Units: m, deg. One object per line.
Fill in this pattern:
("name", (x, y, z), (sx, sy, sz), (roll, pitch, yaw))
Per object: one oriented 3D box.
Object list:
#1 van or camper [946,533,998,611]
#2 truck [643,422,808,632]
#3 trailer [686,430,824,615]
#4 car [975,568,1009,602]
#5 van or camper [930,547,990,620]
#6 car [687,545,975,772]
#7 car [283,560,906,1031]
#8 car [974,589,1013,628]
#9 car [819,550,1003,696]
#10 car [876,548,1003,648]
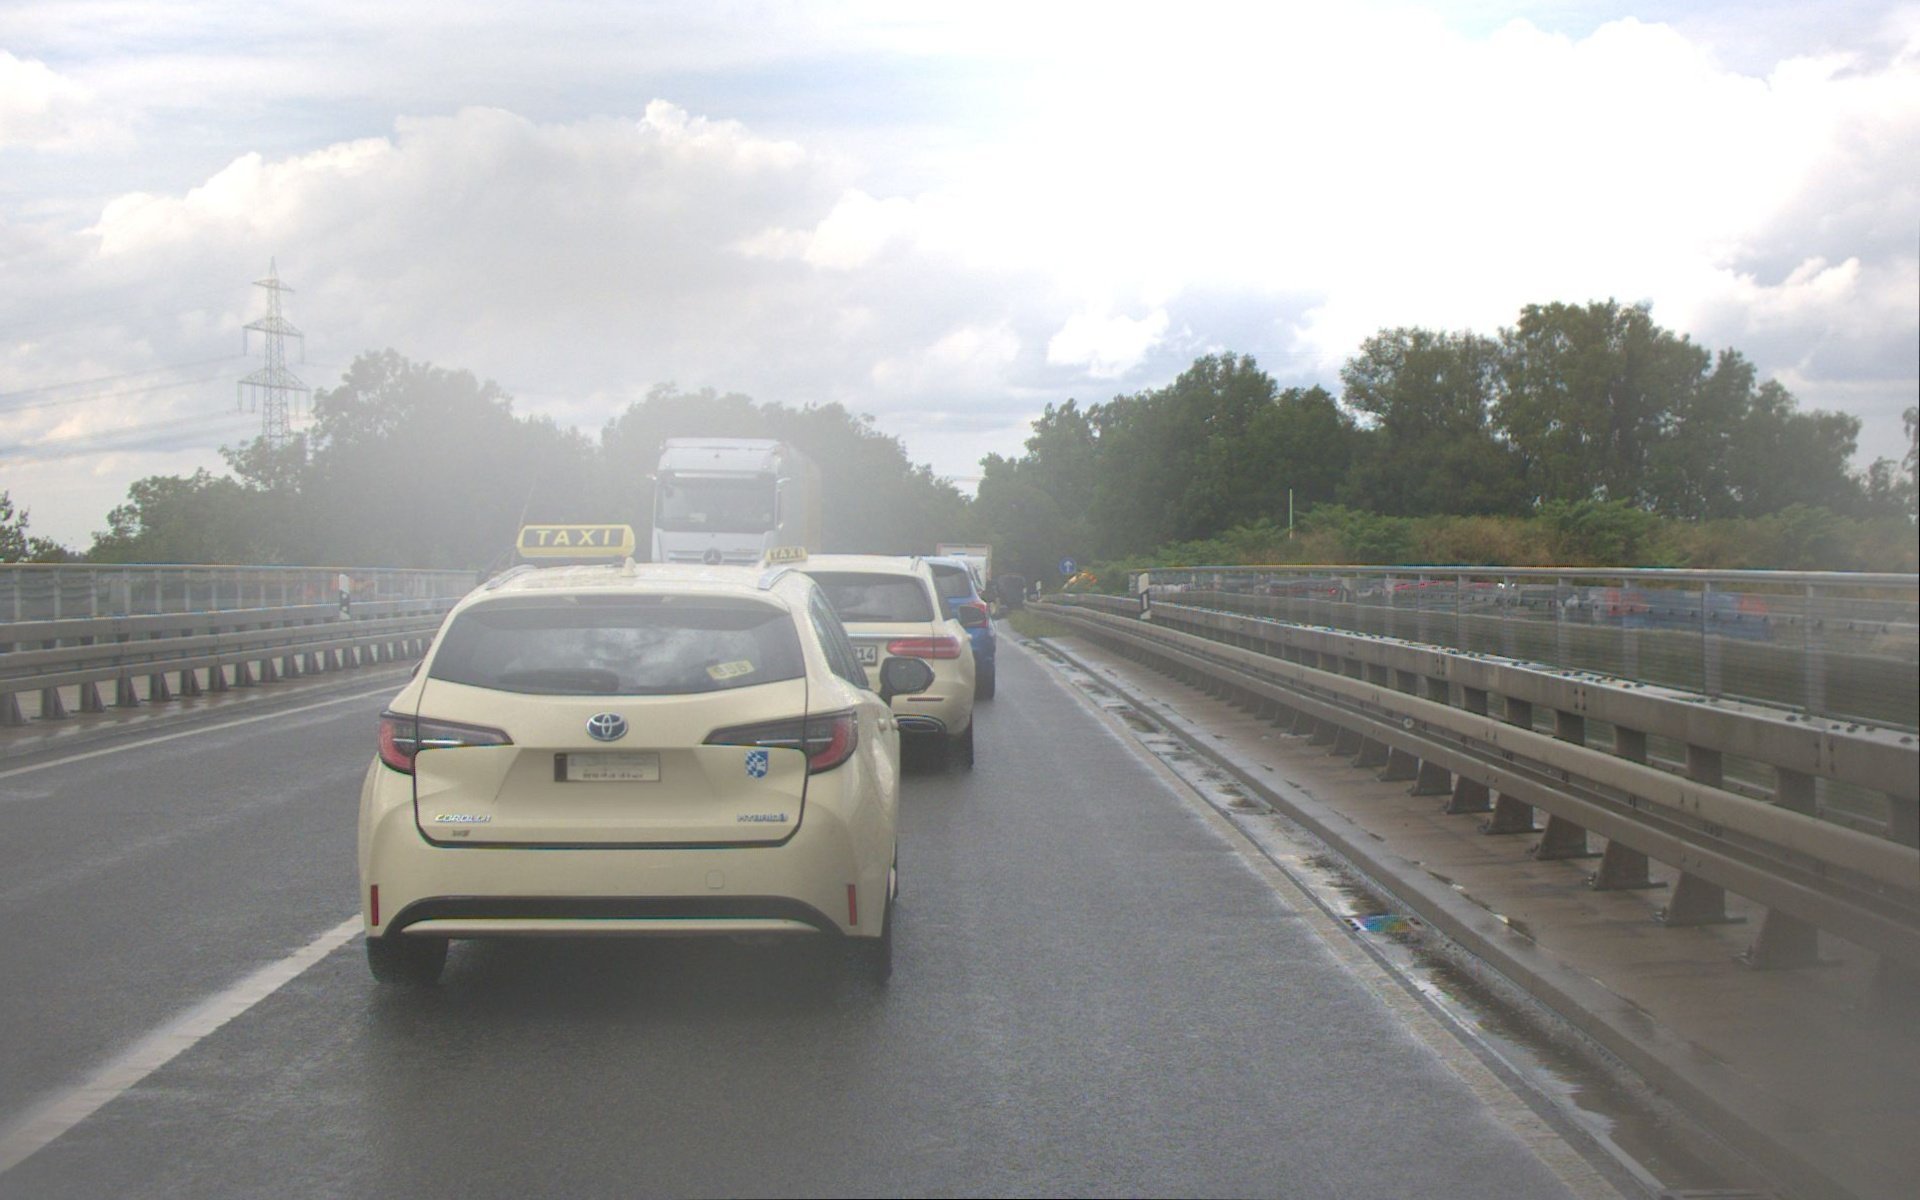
("van or camper", (0.528, -1.341, 162.047), (2.332, 3.550, 6.307), (1, 1, 0))
("truck", (-4.716, -1.483, 70.872), (2.682, 4.003, 10.055), (1, 1, 0))
("trailer", (-4.688, -1.785, 80.114), (2.682, 4.061, 8.485), (1, 1, 0))
("car", (2.007, -0.946, 214.843), (1.993, 2.007, 4.000), (1, 1, -1))
("van or camper", (-0.019, -0.690, 139.346), (2.332, 2.854, 6.307), (1, 1, 0))
("car", (-0.855, 0.347, 24.517), (1.854, 1.438, 4.171), (1, 1, 0))
("car", (-1.160, 0.578, 12.677), (1.854, 1.389, 4.171), (1, 1, 0))
("car", (1.798, 0.437, 185.700), (1.993, 2.007, 4.000), (1, 1, -1))
("car", (-0.511, 0.201, 37.103), (1.854, 1.438, 4.171), (1, 1, 0))
("car", (-0.316, -0.058, 53.216), (1.854, 1.438, 4.171), (1, 1, 0))
